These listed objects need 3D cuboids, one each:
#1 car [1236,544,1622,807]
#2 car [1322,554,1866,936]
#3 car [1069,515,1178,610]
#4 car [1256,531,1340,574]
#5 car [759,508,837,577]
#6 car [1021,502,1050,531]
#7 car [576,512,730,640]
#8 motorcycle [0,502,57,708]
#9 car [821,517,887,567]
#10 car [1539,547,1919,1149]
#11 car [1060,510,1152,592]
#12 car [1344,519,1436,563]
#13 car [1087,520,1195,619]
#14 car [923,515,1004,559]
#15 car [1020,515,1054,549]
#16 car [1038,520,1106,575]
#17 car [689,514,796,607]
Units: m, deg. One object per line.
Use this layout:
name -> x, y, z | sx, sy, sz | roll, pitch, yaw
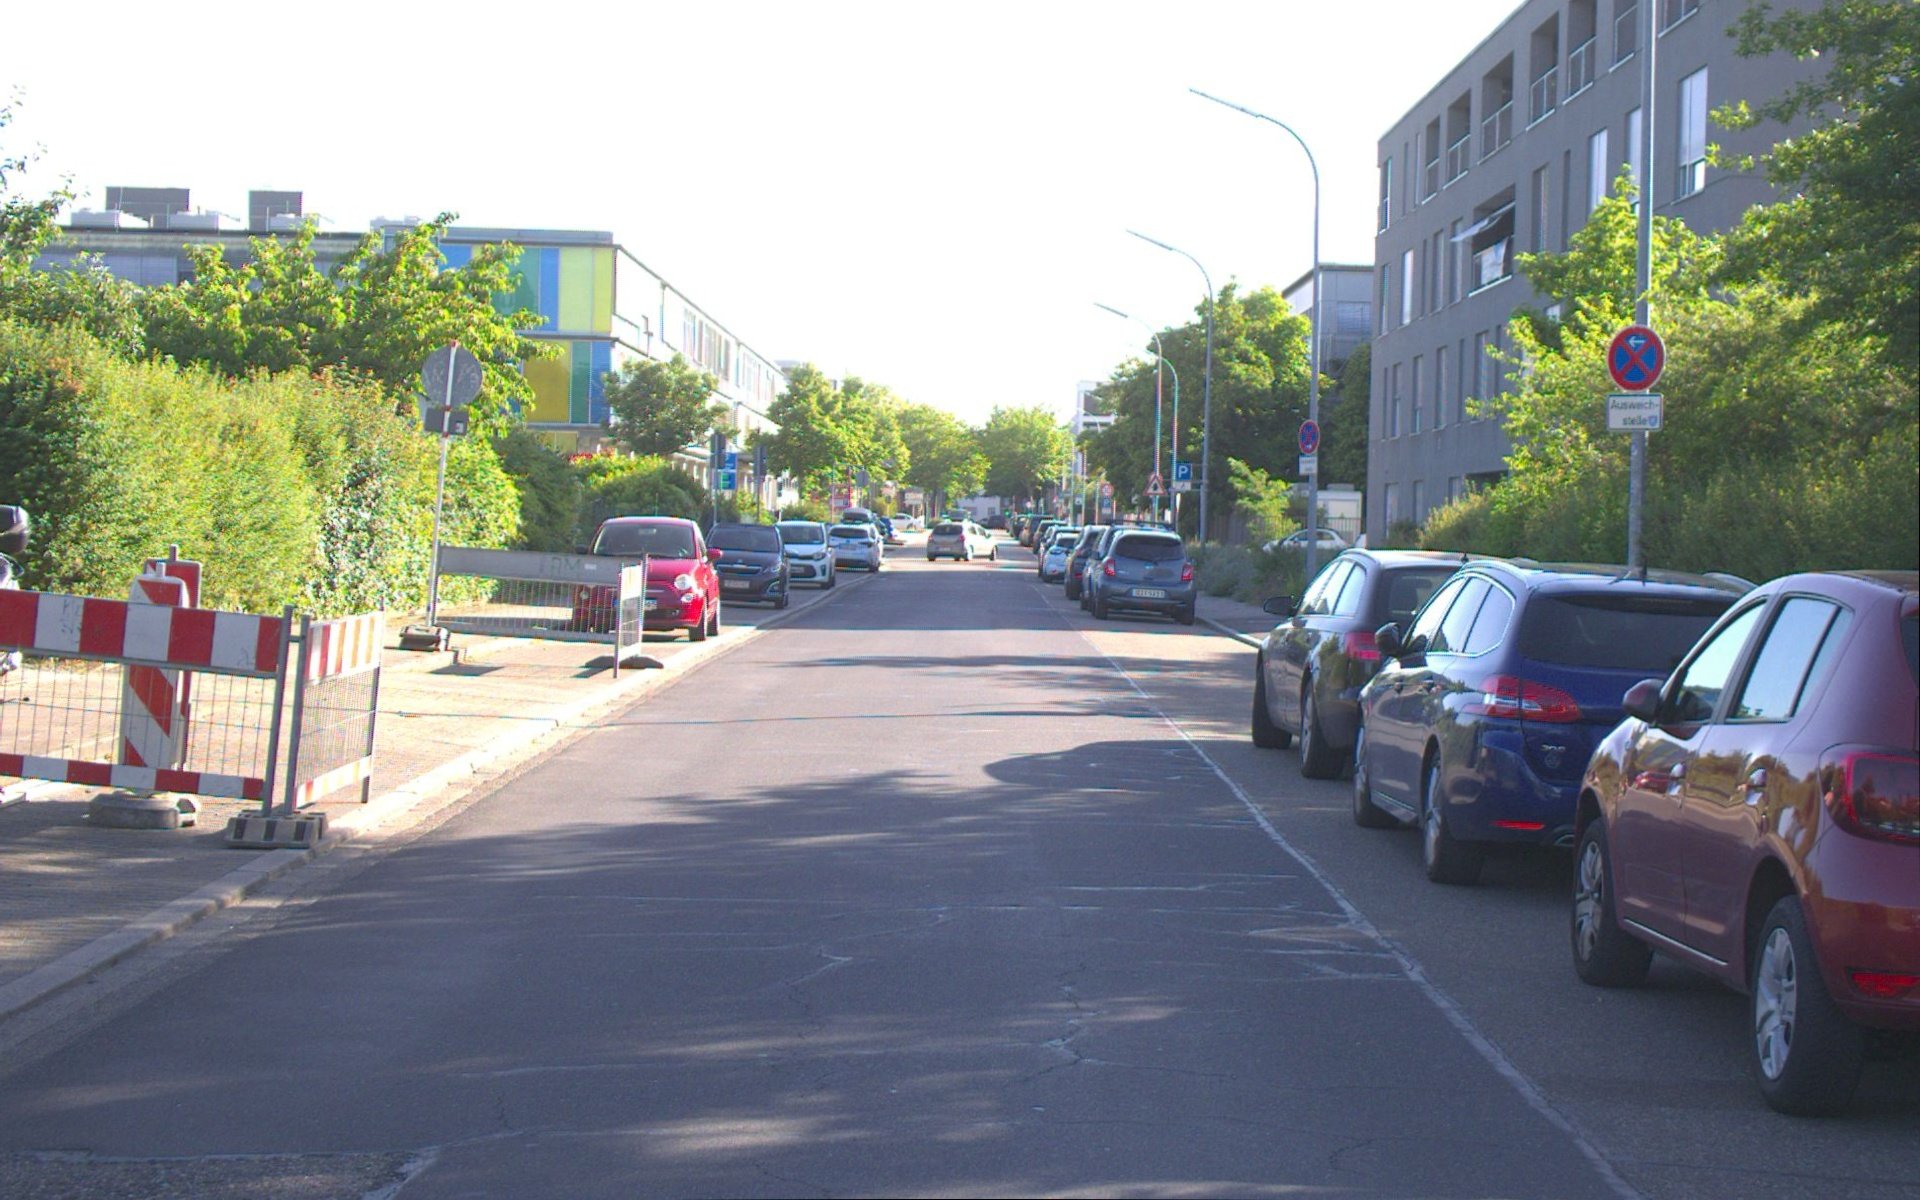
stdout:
car -> 2.974, 0.409, 22.763 | 1.754, 1.408, 4.657 | 4, 1, -1
car -> 2.900, 0.578, 16.730 | 1.655, 1.440, 4.657 | 4, 1, -1
car -> 3.015, -0.722, 64.092 | 1.676, 1.603, 4.179 | 4, 1, -1
car -> 13.441, -1.901, 136.795 | 3.216, 1.544, 1.450 | 3, 1, 3
car -> -3.638, -1.310, 77.797 | 1.559, 1.489, 3.759 | 1, 1, 0
car -> 4.247, -4.733, 194.149 | 1.445, 1.544, 3.614 | 3, 1, -1
car -> -3.747, -0.325, 42.394 | 1.559, 1.489, 3.571 | 1, 1, 0
motorcycle -> -6.190, 0.013, 21.588 | 0.566, 1.264, 2.091 | 3, 1, -4
car -> -3.280, -1.837, 107.130 | 1.854, 1.423, 4.134 | 3, 1, 0
car -> 3.015, 0.650, 10.687 | 1.655, 1.481, 3.839 | 4, 1, -1
car -> 3.120, -1.086, 74.209 | 1.742, 1.619, 4.179 | 3, 1, 0
car -> 16.083, -2.202, 128.669 | 3.216, 1.455, 1.450 | 3, 1, 3
car -> 3.063, -0.551, 58.717 | 1.622, 1.521, 3.901 | 4, 1, 1
car -> 0.151, -2.400, 131.055 | 1.692, 1.544, 3.609 | 4, 2, 24
car -> 3.773, -3.340, 168.765 | 1.445, 1.544, 3.614 | 3, 1, -1
car -> 3.179, -1.522, 98.148 | 1.742, 1.423, 4.134 | 3, 1, 0
car -> -3.820, -0.725, 60.760 | 1.559, 1.489, 3.571 | 4, 1, 0
